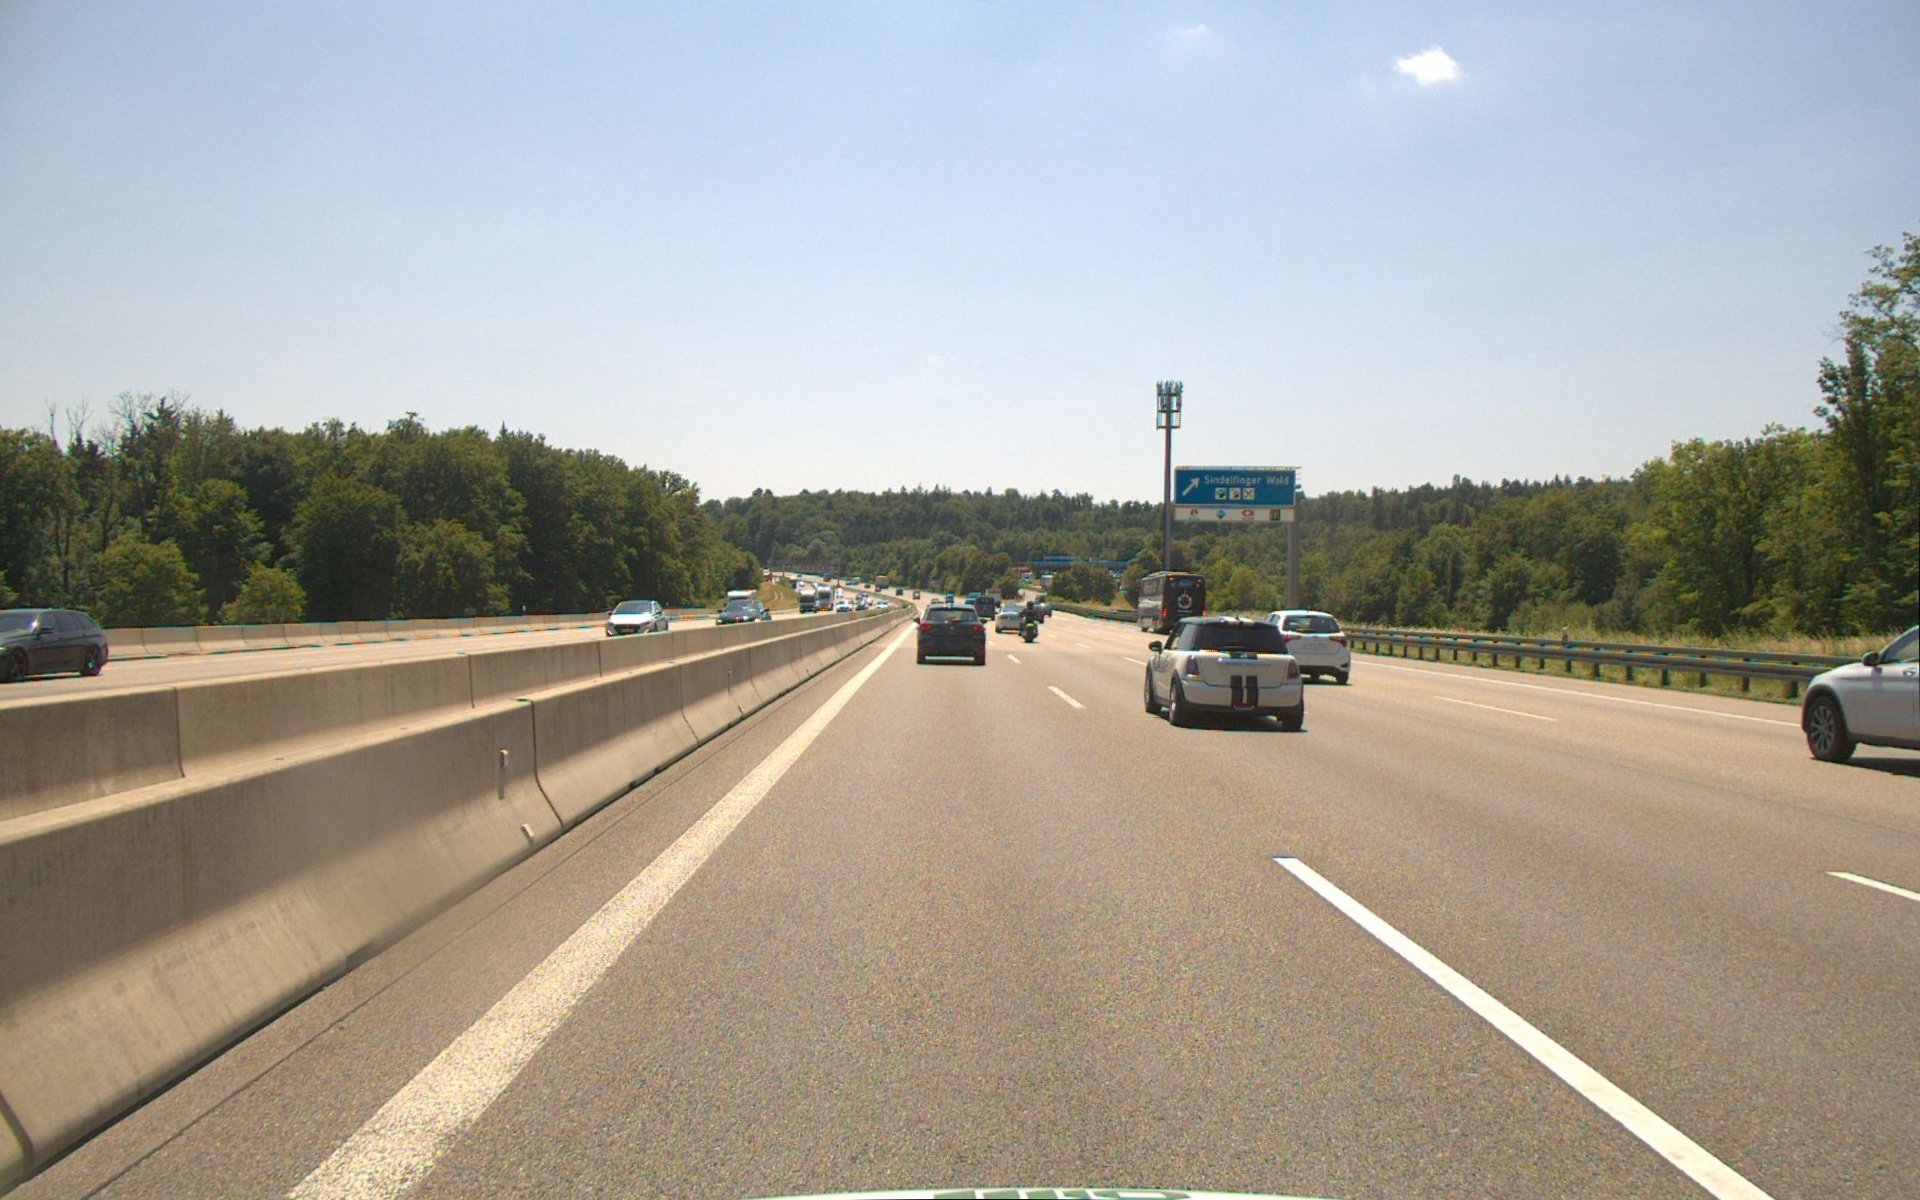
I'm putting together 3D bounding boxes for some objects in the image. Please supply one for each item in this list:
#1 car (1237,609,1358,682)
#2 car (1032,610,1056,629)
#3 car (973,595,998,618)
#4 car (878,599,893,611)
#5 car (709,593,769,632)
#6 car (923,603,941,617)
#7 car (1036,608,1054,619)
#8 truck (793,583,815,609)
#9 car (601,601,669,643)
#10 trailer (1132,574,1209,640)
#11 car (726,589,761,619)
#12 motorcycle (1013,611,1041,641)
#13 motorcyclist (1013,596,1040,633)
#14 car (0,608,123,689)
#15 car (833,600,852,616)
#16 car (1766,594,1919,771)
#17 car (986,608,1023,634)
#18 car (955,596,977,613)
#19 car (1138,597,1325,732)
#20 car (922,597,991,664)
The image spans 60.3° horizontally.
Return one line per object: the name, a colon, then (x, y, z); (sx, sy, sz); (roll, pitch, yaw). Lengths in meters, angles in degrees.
car: (7.316, 0.955, 36.254); (1.632, 1.458, 4.374); (1, 0, -2)
car: (6.729, 1.540, 132.711); (1.641, 1.457, 3.684); (1, 0, -1)
car: (2.124, 0.559, 140.217); (2.054, 1.884, 4.080); (0, 0, 0)
car: (-9.938, 0.670, 220.522); (1.811, 1.550, 5.317); (-1, 0, -1)
car: (-8.565, 0.475, 64.386); (1.802, 1.466, 4.843); (1, 0, -2)
car: (-2.478, 0.928, 147.006); (1.505, 1.233, 3.458); (0, 0, -3)
car: (9.388, 1.489, 182.866); (1.576, 1.233, 3.458); (0, 0, -2)
truck: (-22.808, -0.569, 242.019); (2.488, 3.633, 8.574); (0, 0, -2)
car: (-11.888, 0.780, 60.680); (1.802, 1.466, 3.998); (1, 0, -2)
trailer: (12.744, 0.440, 101.261); (2.799, 3.752, 13.539); (0, -1, -1)
car: (-19.992, 0.382, 153.090); (2.176, 2.705, 8.173); (-1, 0, -1)
motorcycle: (2.679, 1.027, 66.247); (0.957, 1.149, 2.270); (0, 0, -1)
motorcyclist: (2.656, 0.583, 66.215); (0.943, 1.463, 1.234); (-1, 0, -2)
car: (-18.655, 0.928, 32.779); (1.802, 1.466, 4.762); (-2, 0, -2)
car: (-13.651, 0.873, 192.744); (1.953, 1.819, 5.317); (-1, 0, -1)
car: (10.597, 0.875, 17.192); (1.764, 1.761, 5.238); (2, 1, -1)
car: (2.266, 1.068, 84.566); (1.746, 1.287, 3.459); (0, 0, -1)
car: (0.652, 0.515, 182.762); (1.955, 1.713, 4.419); (2, 1, -5)
car: (3.563, 0.793, 22.398); (1.804, 1.579, 4.000); (3, 0, 0)
car: (-0.095, 0.716, 40.857); (1.591, 1.513, 3.685); (1, 1, -1)
